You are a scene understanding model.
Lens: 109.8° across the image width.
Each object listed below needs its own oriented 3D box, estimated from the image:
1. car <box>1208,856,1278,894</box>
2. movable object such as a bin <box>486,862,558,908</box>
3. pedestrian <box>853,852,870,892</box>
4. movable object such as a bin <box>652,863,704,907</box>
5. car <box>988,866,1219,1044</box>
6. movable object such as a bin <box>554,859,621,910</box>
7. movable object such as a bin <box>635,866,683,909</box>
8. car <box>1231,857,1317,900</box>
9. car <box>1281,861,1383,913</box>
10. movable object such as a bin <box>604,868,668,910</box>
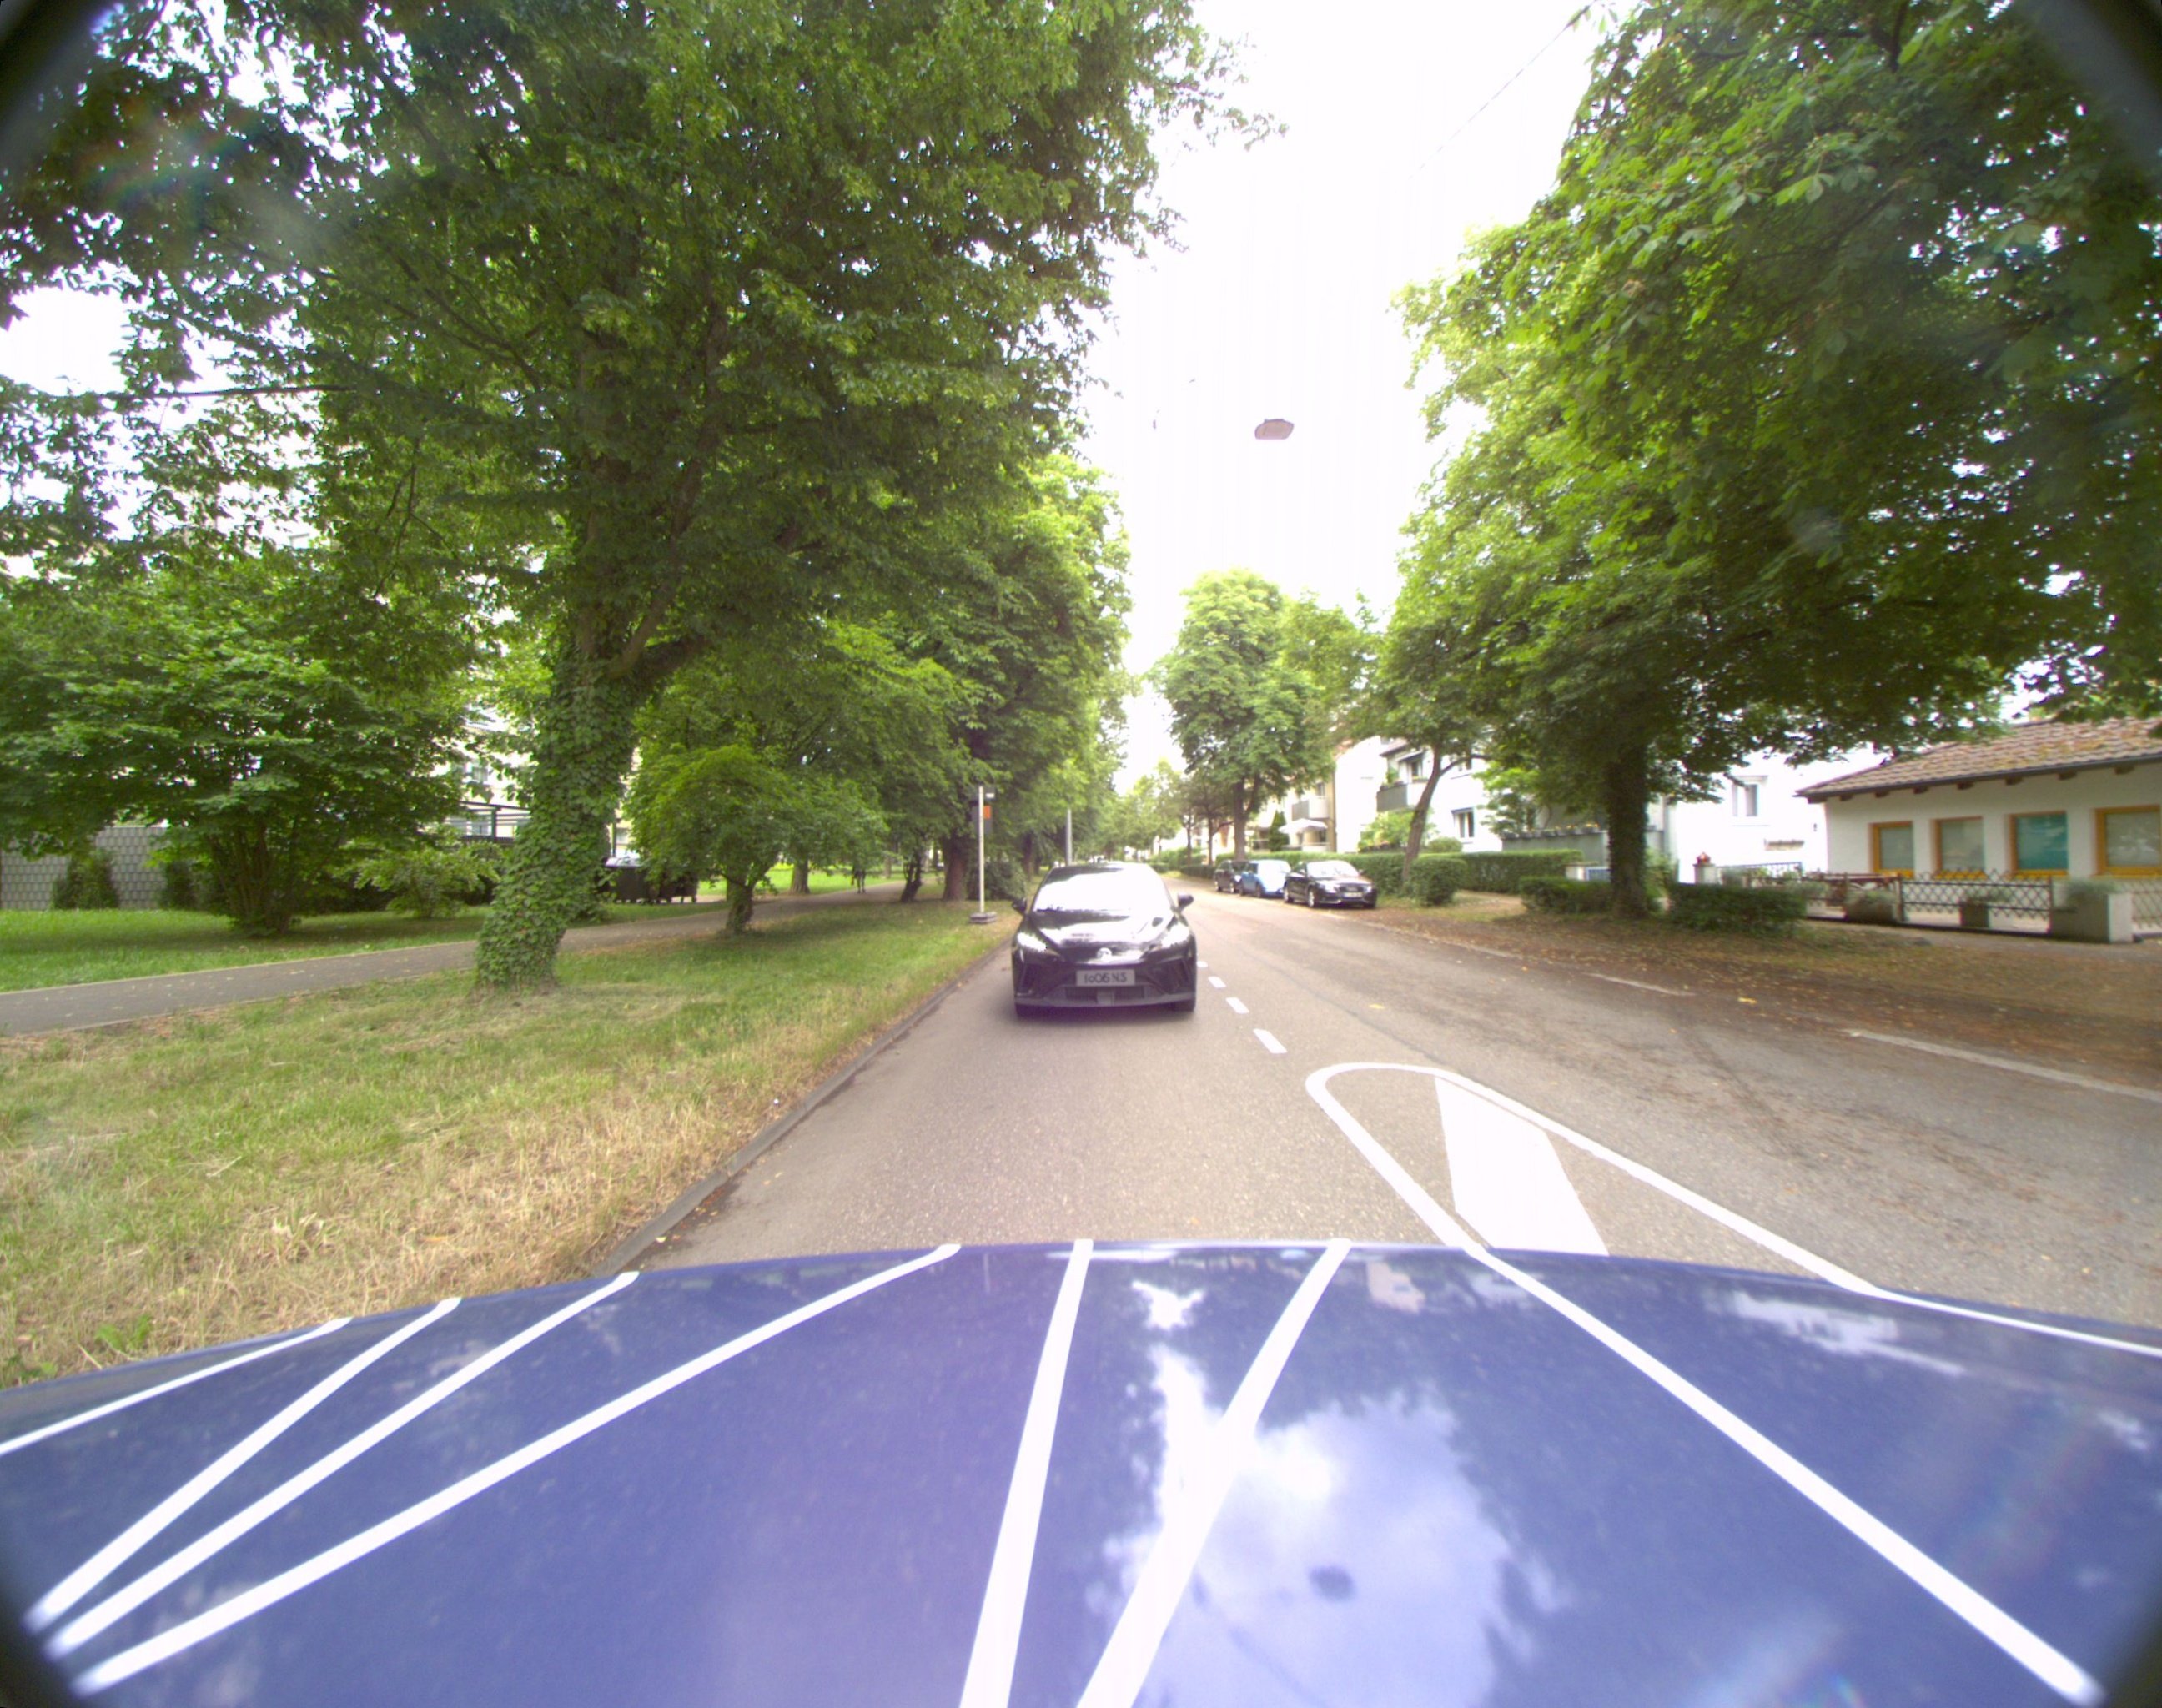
[{"bbox_3d":[7.082,0.883,33.654,1.889,1.524,4.565,0,0,-3],"label":"car"},{"bbox_3d":[-16.508,0.895,22.485,1.194,1.334,1.348,0,0,-8],"label":"movable object such as a bin"},{"bbox_3d":[-9.650,0.800,33.398,0.565,1.730,0.570,1,0,0],"label":"pedestrian"},{"bbox_3d":[-13.238,0.987,24.973,1.194,1.405,1.110,0,0,-8],"label":"movable object such as a bin"},{"bbox_3d":[0.221,0.913,8.895,1.998,1.491,4.615,0,0,1],"label":"car"},{"bbox_3d":[-14.567,0.871,22.488,1.194,1.448,1.348,0,0,-8],"label":"movable object such as a bin"},{"bbox_3d":[-13.235,1.047,23.879,1.026,1.296,0.960,0,0,-8],"label":"movable object such as a bin"},{"bbox_3d":[7.212,0.880,28.900,1.889,1.492,4.565,0,0,-3],"label":"car"},{"bbox_3d":[7.411,0.915,22.879,1.735,1.394,4.172,0,0,1],"label":"car"},{"bbox_3d":[-13.250,1.028,22.680,1.194,1.213,1.348,0,0,-8],"label":"movable object such as a bin"}]
